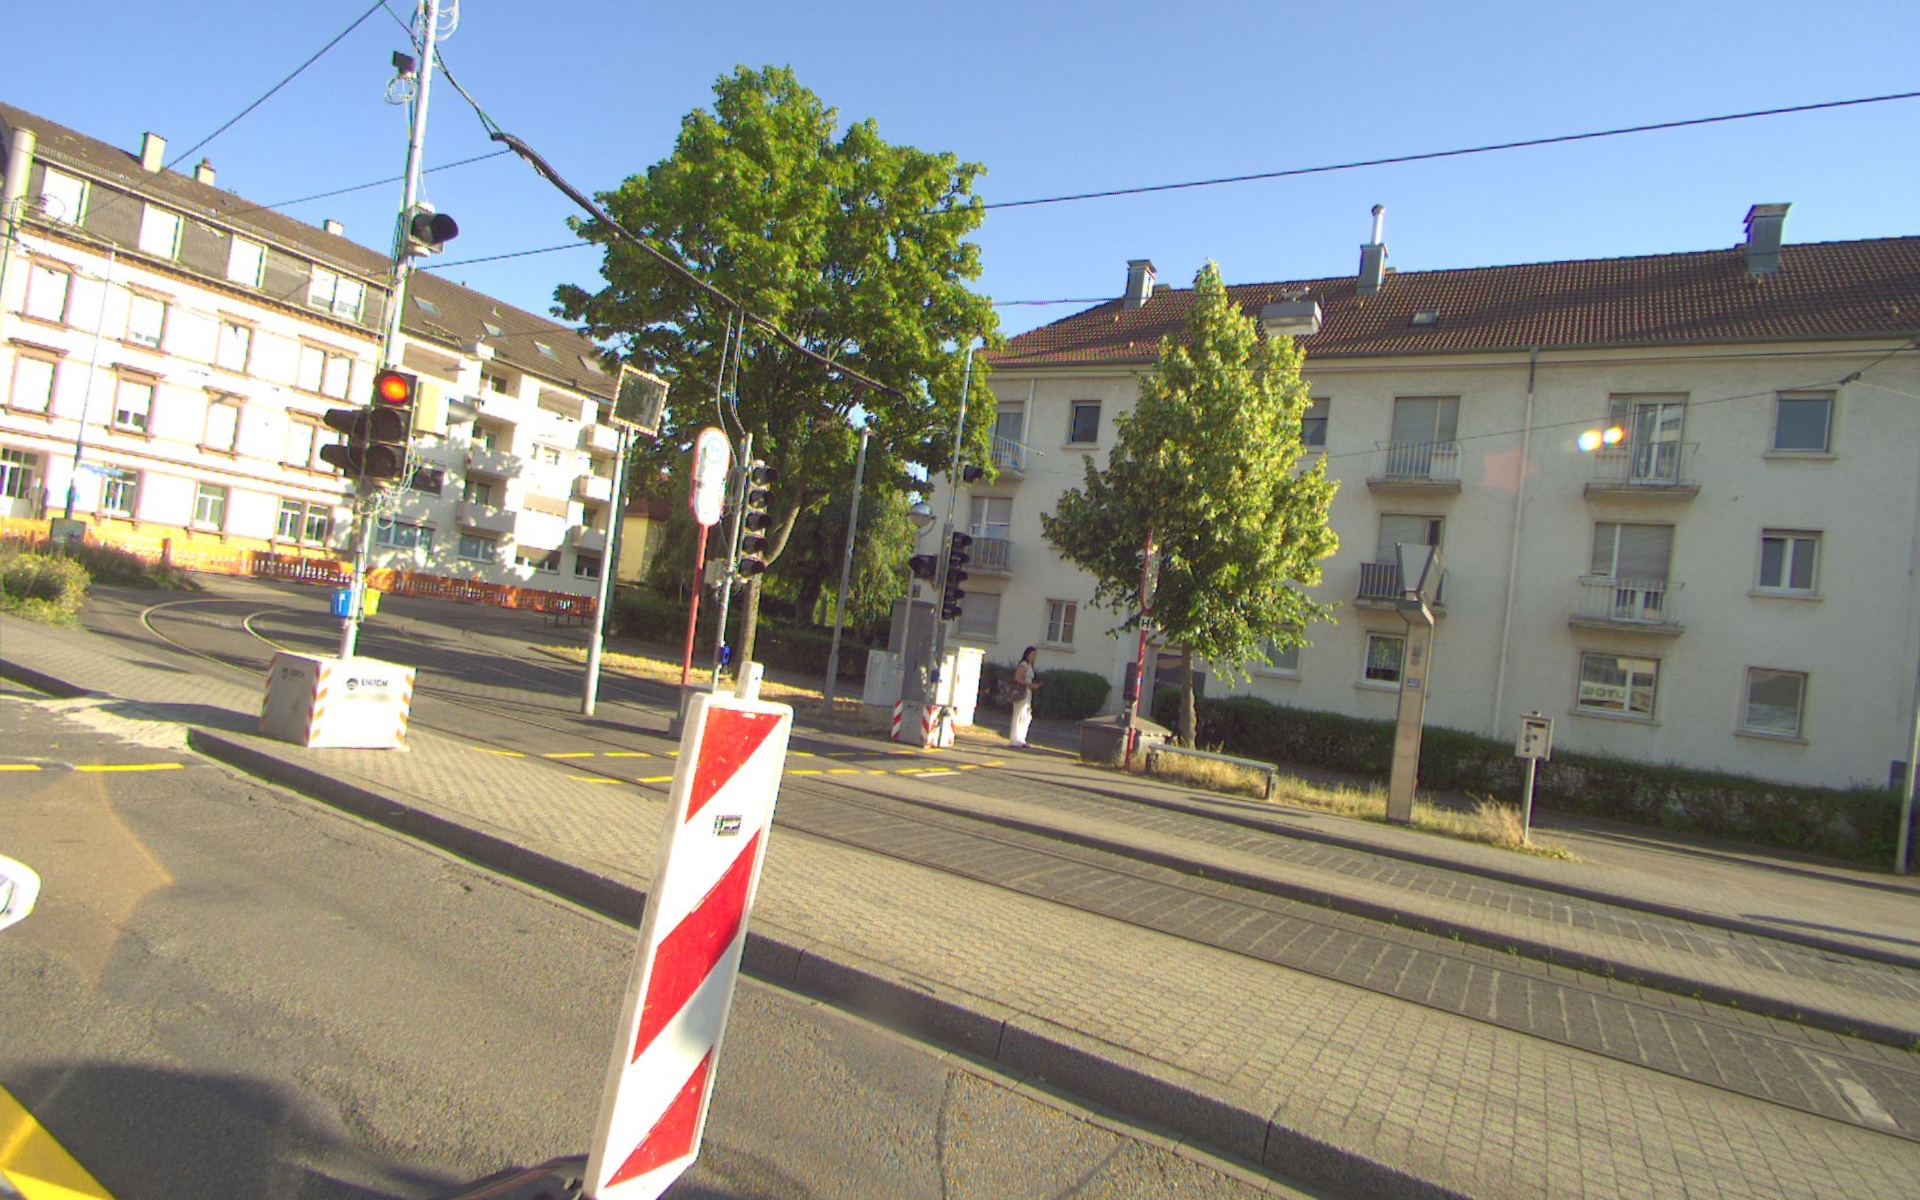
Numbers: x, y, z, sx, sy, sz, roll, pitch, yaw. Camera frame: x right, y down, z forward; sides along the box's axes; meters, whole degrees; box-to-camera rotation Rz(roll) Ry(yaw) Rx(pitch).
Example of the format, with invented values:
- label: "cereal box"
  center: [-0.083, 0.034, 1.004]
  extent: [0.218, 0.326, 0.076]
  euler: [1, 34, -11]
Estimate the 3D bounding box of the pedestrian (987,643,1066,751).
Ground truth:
- label: "pedestrian"
  center: [1.085, 1.586, 16.551]
  extent: [0.818, 1.639, 0.784]
  euler: [8, -1, -32]
